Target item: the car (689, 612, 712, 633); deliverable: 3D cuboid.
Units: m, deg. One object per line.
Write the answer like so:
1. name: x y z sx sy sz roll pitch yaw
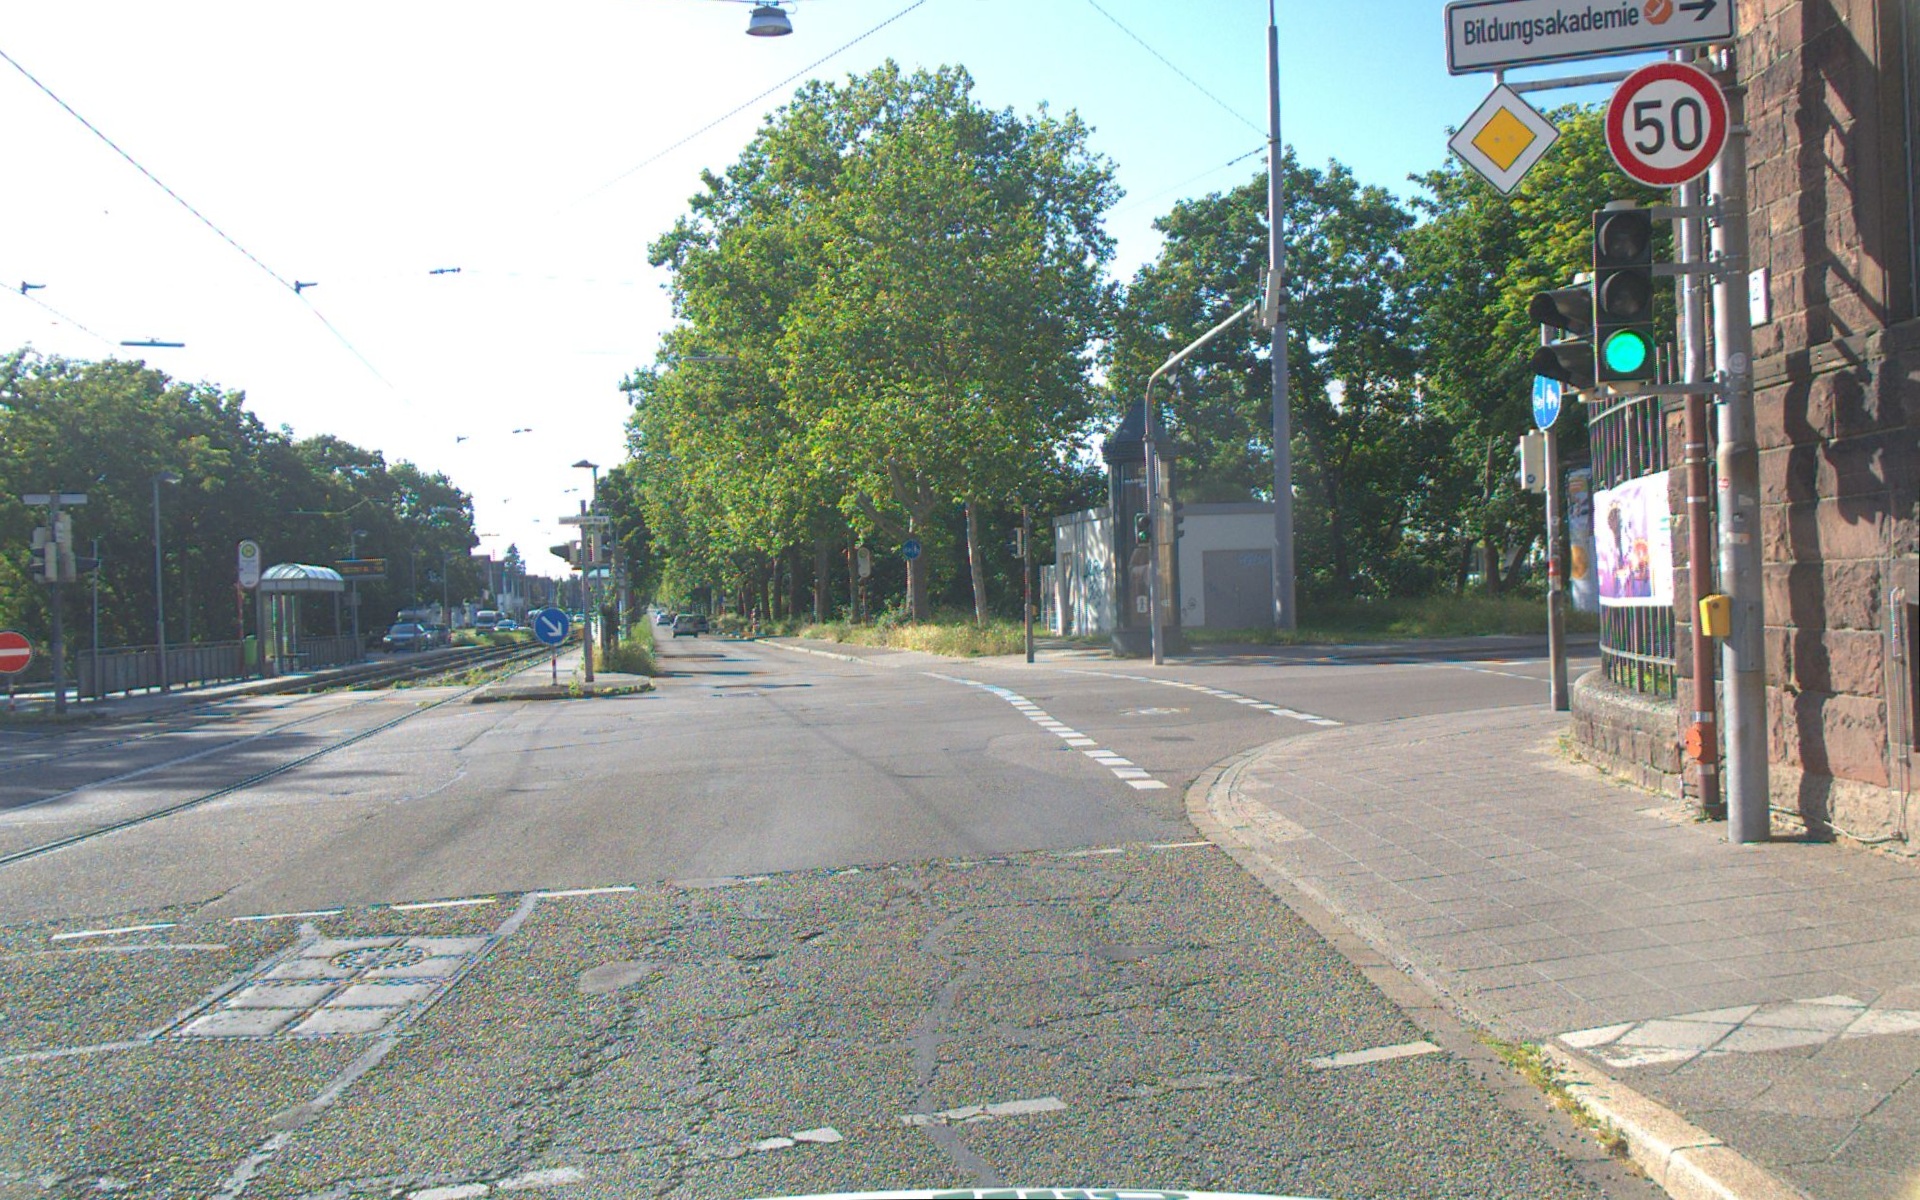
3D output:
1. car: -20.782 1.762 132.263 1.719 1.632 3.740 -1 0 -11

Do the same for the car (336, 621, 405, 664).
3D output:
1. car: -21.784 1.546 61.260 1.773 1.492 3.988 -2 0 -11

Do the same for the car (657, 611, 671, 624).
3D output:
1. car: -40.297 2.335 225.021 1.720 1.632 3.570 -2 0 -12

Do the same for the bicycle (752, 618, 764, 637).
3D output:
1. bicycle: -11.771 1.593 96.501 0.527 1.085 1.429 -2 0 -12

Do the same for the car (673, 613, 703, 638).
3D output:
1. car: -17.527 1.616 106.420 1.834 1.512 3.546 -2 0 -11

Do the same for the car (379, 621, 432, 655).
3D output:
1. car: -28.692 1.965 85.622 1.885 1.594 3.991 -3 0 -9

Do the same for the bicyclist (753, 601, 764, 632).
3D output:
1. bicyclist: -11.763 0.958 96.526 0.525 1.800 0.711 -2 0 -13

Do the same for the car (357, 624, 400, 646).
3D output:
1. car: -38.271 2.317 108.902 1.885 1.288 3.991 -3 0 -9

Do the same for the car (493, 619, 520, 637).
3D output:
1. car: -40.070 2.468 146.225 1.959 1.495 4.363 -2 0 -12

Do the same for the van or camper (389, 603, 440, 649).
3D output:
1. van or camper: -40.112 1.891 121.805 2.543 3.160 6.770 -3 0 -11
